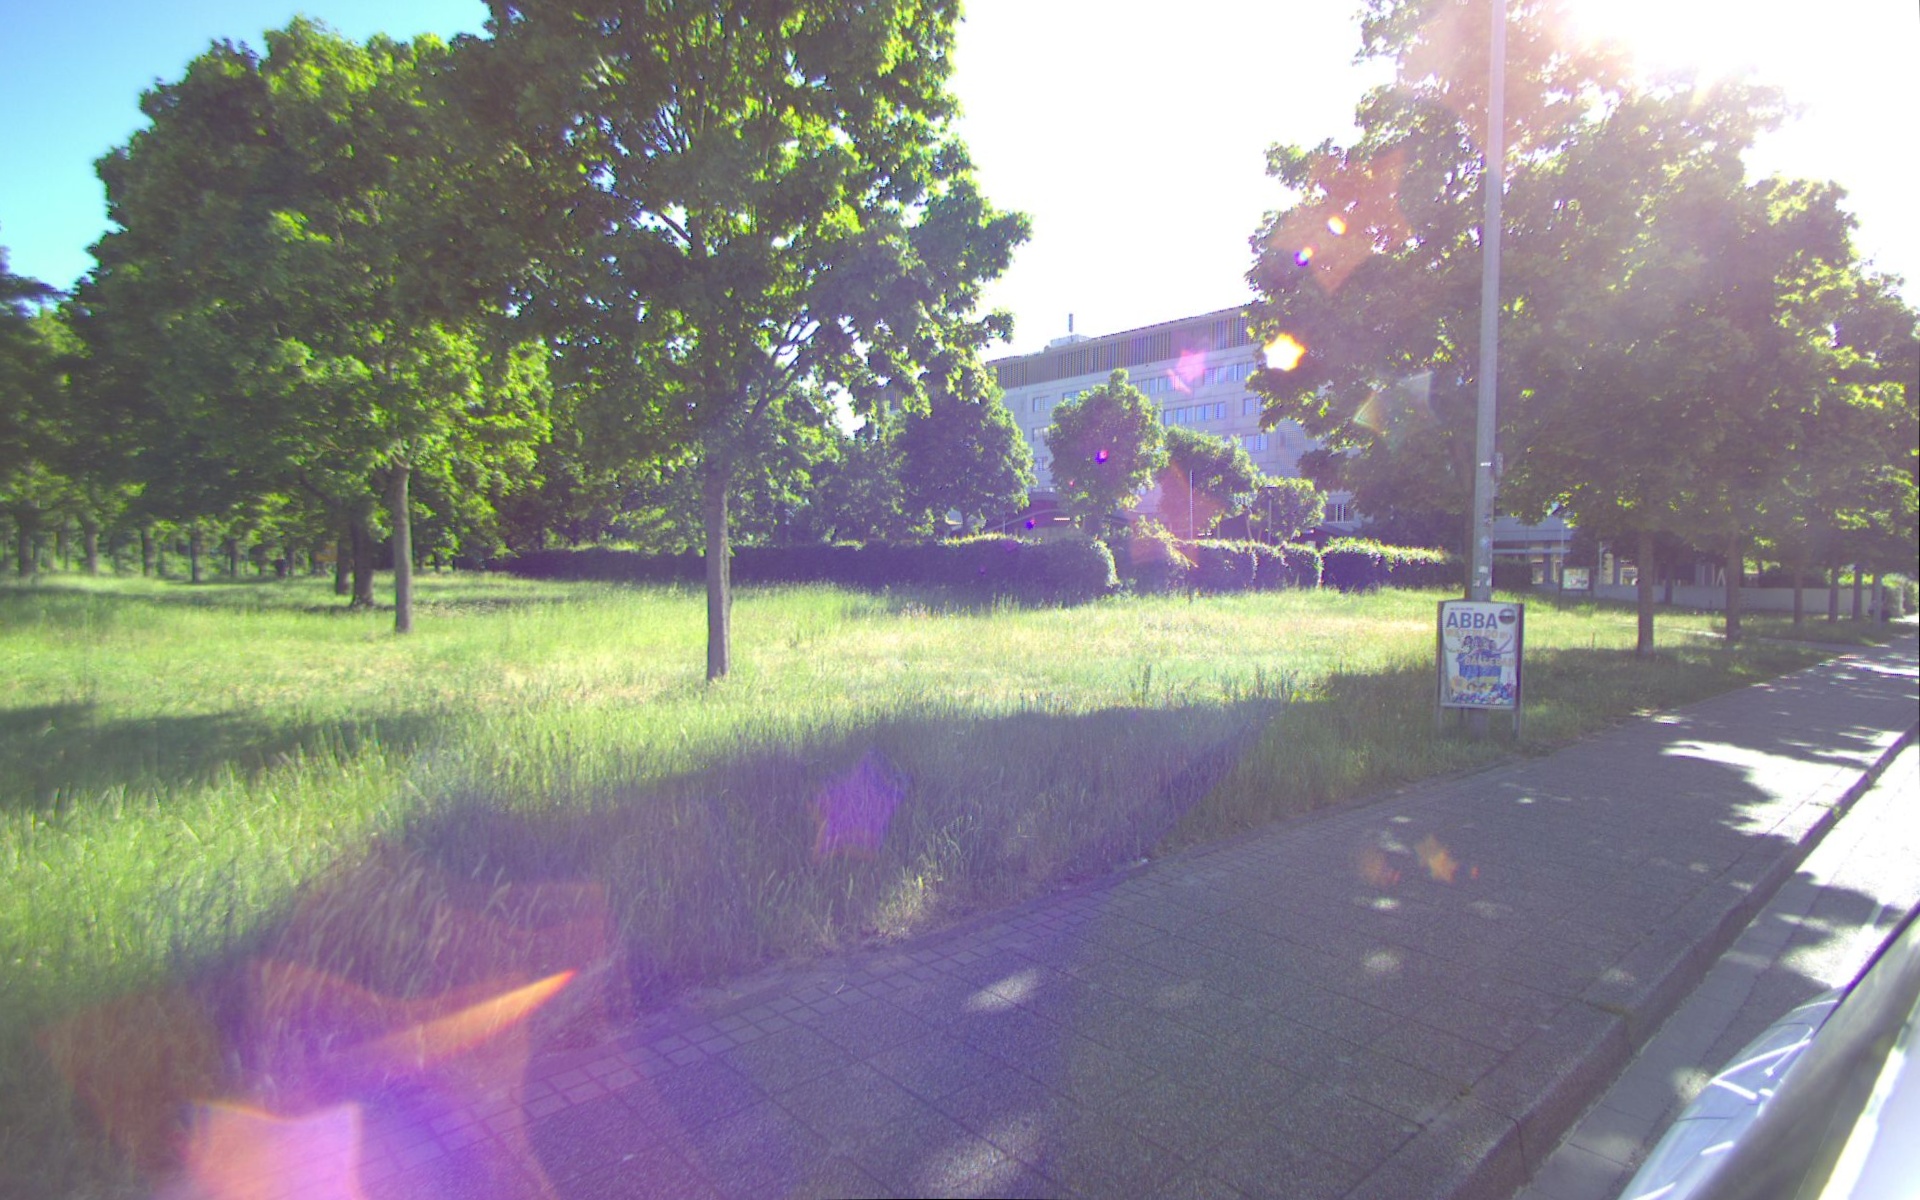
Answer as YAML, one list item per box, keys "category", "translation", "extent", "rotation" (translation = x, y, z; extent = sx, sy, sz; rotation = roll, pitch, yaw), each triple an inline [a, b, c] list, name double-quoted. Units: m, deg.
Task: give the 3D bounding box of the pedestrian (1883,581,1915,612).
- category: "pedestrian"
  translation: [39.258, -0.158, 42.311]
  extent: [0.842, 1.232, 0.719]
  rotation: [3, 2, 36]

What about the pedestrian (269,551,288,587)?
- category: "pedestrian"
  translation: [-33.700, -1.553, 50.056]
  extent: [0.726, 1.748, 0.888]
  rotation: [1, 1, -38]
